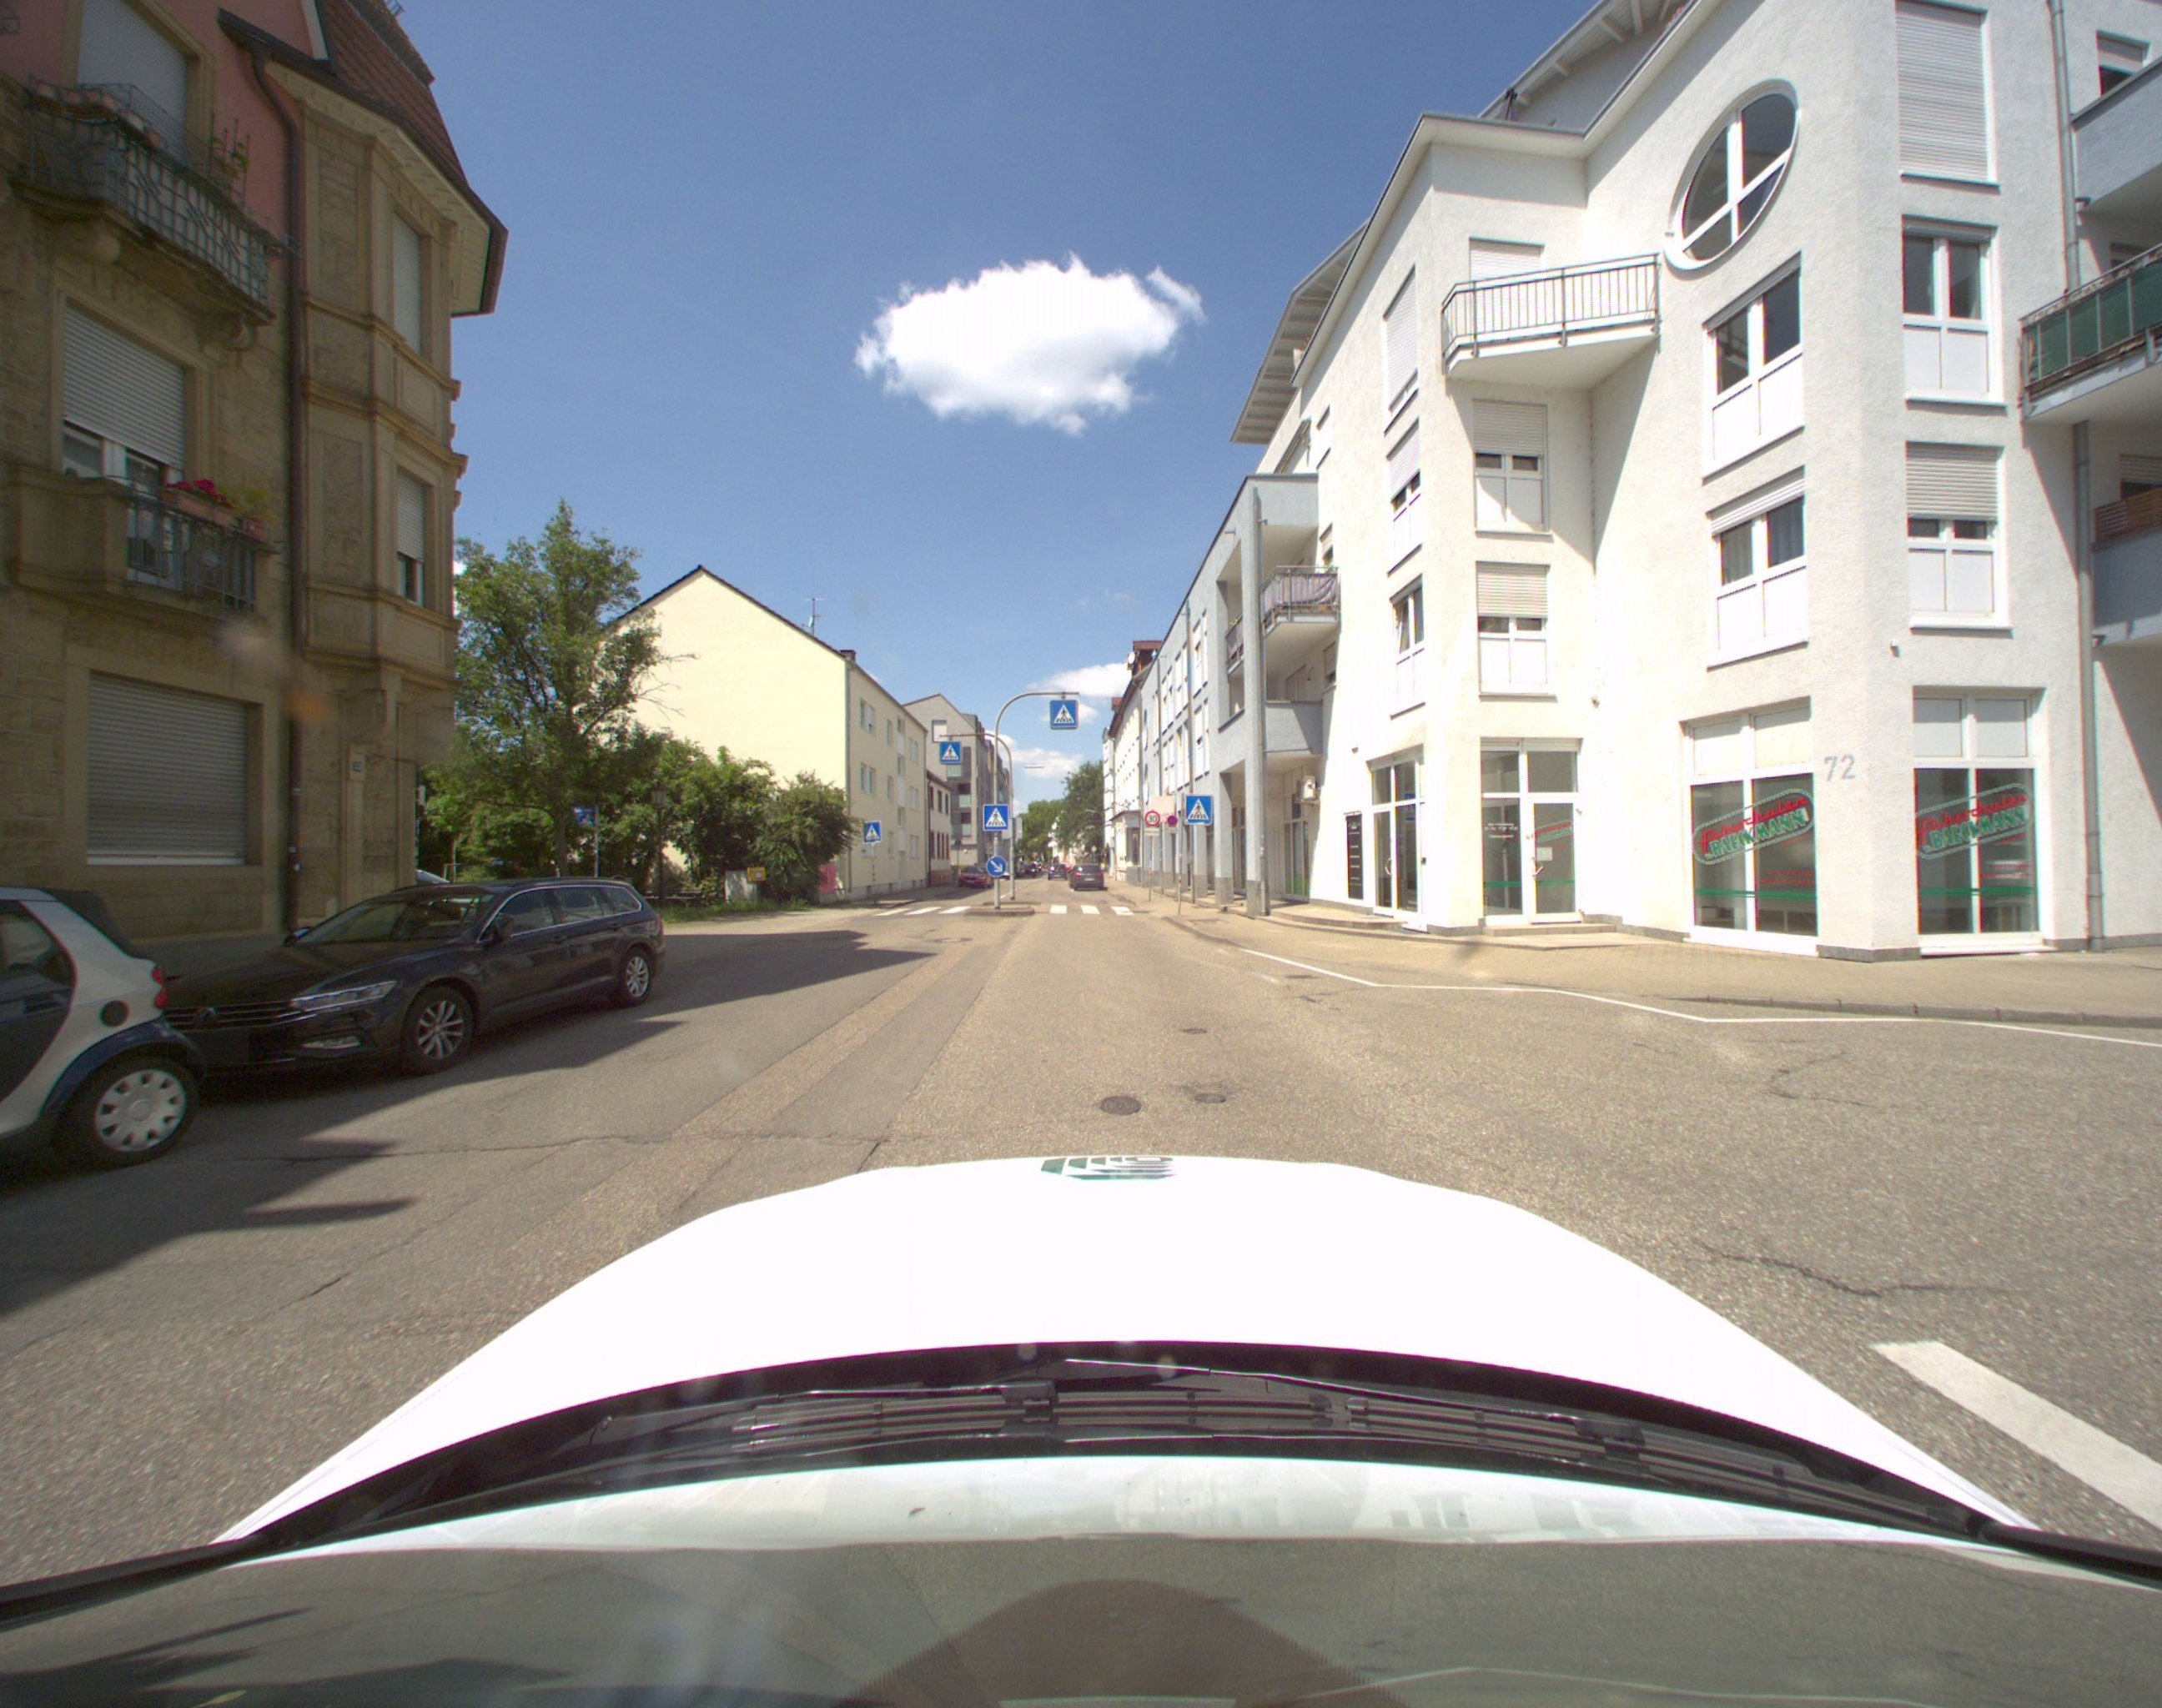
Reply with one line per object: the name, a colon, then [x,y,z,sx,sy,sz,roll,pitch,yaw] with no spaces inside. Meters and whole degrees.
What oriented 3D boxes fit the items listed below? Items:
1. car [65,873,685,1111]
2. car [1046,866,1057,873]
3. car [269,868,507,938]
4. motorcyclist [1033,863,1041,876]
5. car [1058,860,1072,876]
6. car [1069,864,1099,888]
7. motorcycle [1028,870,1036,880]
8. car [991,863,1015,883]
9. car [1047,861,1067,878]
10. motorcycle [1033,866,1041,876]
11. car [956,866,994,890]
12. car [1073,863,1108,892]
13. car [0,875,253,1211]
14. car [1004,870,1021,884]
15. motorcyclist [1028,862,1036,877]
car: [-5.798,0.964,7.702,1.777,1.458,4.634,-1,-1,0]
car: [-7.041,3.679,194.400,1.994,1.618,3.986,0,-1,-10]
car: [-16.008,1.100,18.957,3.970,1.502,1.871,0,0,3]
motorcyclist: [-5.420,1.905,99.857,0.913,1.480,1.202,-1,-1,-2]
car: [-2.099,1.857,106.697,1.834,2.013,3.998,-1,0,-1]
car: [0.137,1.353,51.568,1.724,1.420,4.541,-1,0,-2]
motorcycle: [-5.374,2.256,89.413,0.710,1.028,2.240,-2,0,2]
car: [-7.602,1.840,79.986,1.750,1.892,4.339,1,0,2]
car: [-2.116,1.353,73.076,1.711,1.402,3.998,-1,0,-1]
motorcycle: [-5.411,2.072,99.867,0.894,1.176,2.206,-1,0,-2]
car: [-6.881,1.548,53.308,1.827,1.417,4.290,-1,-1,1]
car: [0.491,1.283,46.043,1.706,1.508,3.995,-1,0,-3]
car: [-5.687,0.892,3.535,1.432,1.522,2.694,-1,-1,-1]
car: [-7.912,2.645,94.091,1.718,1.456,4.004,0,-1,-1]
motorcyclist: [-5.388,1.737,89.430,0.710,1.634,1.069,-2,0,2]
